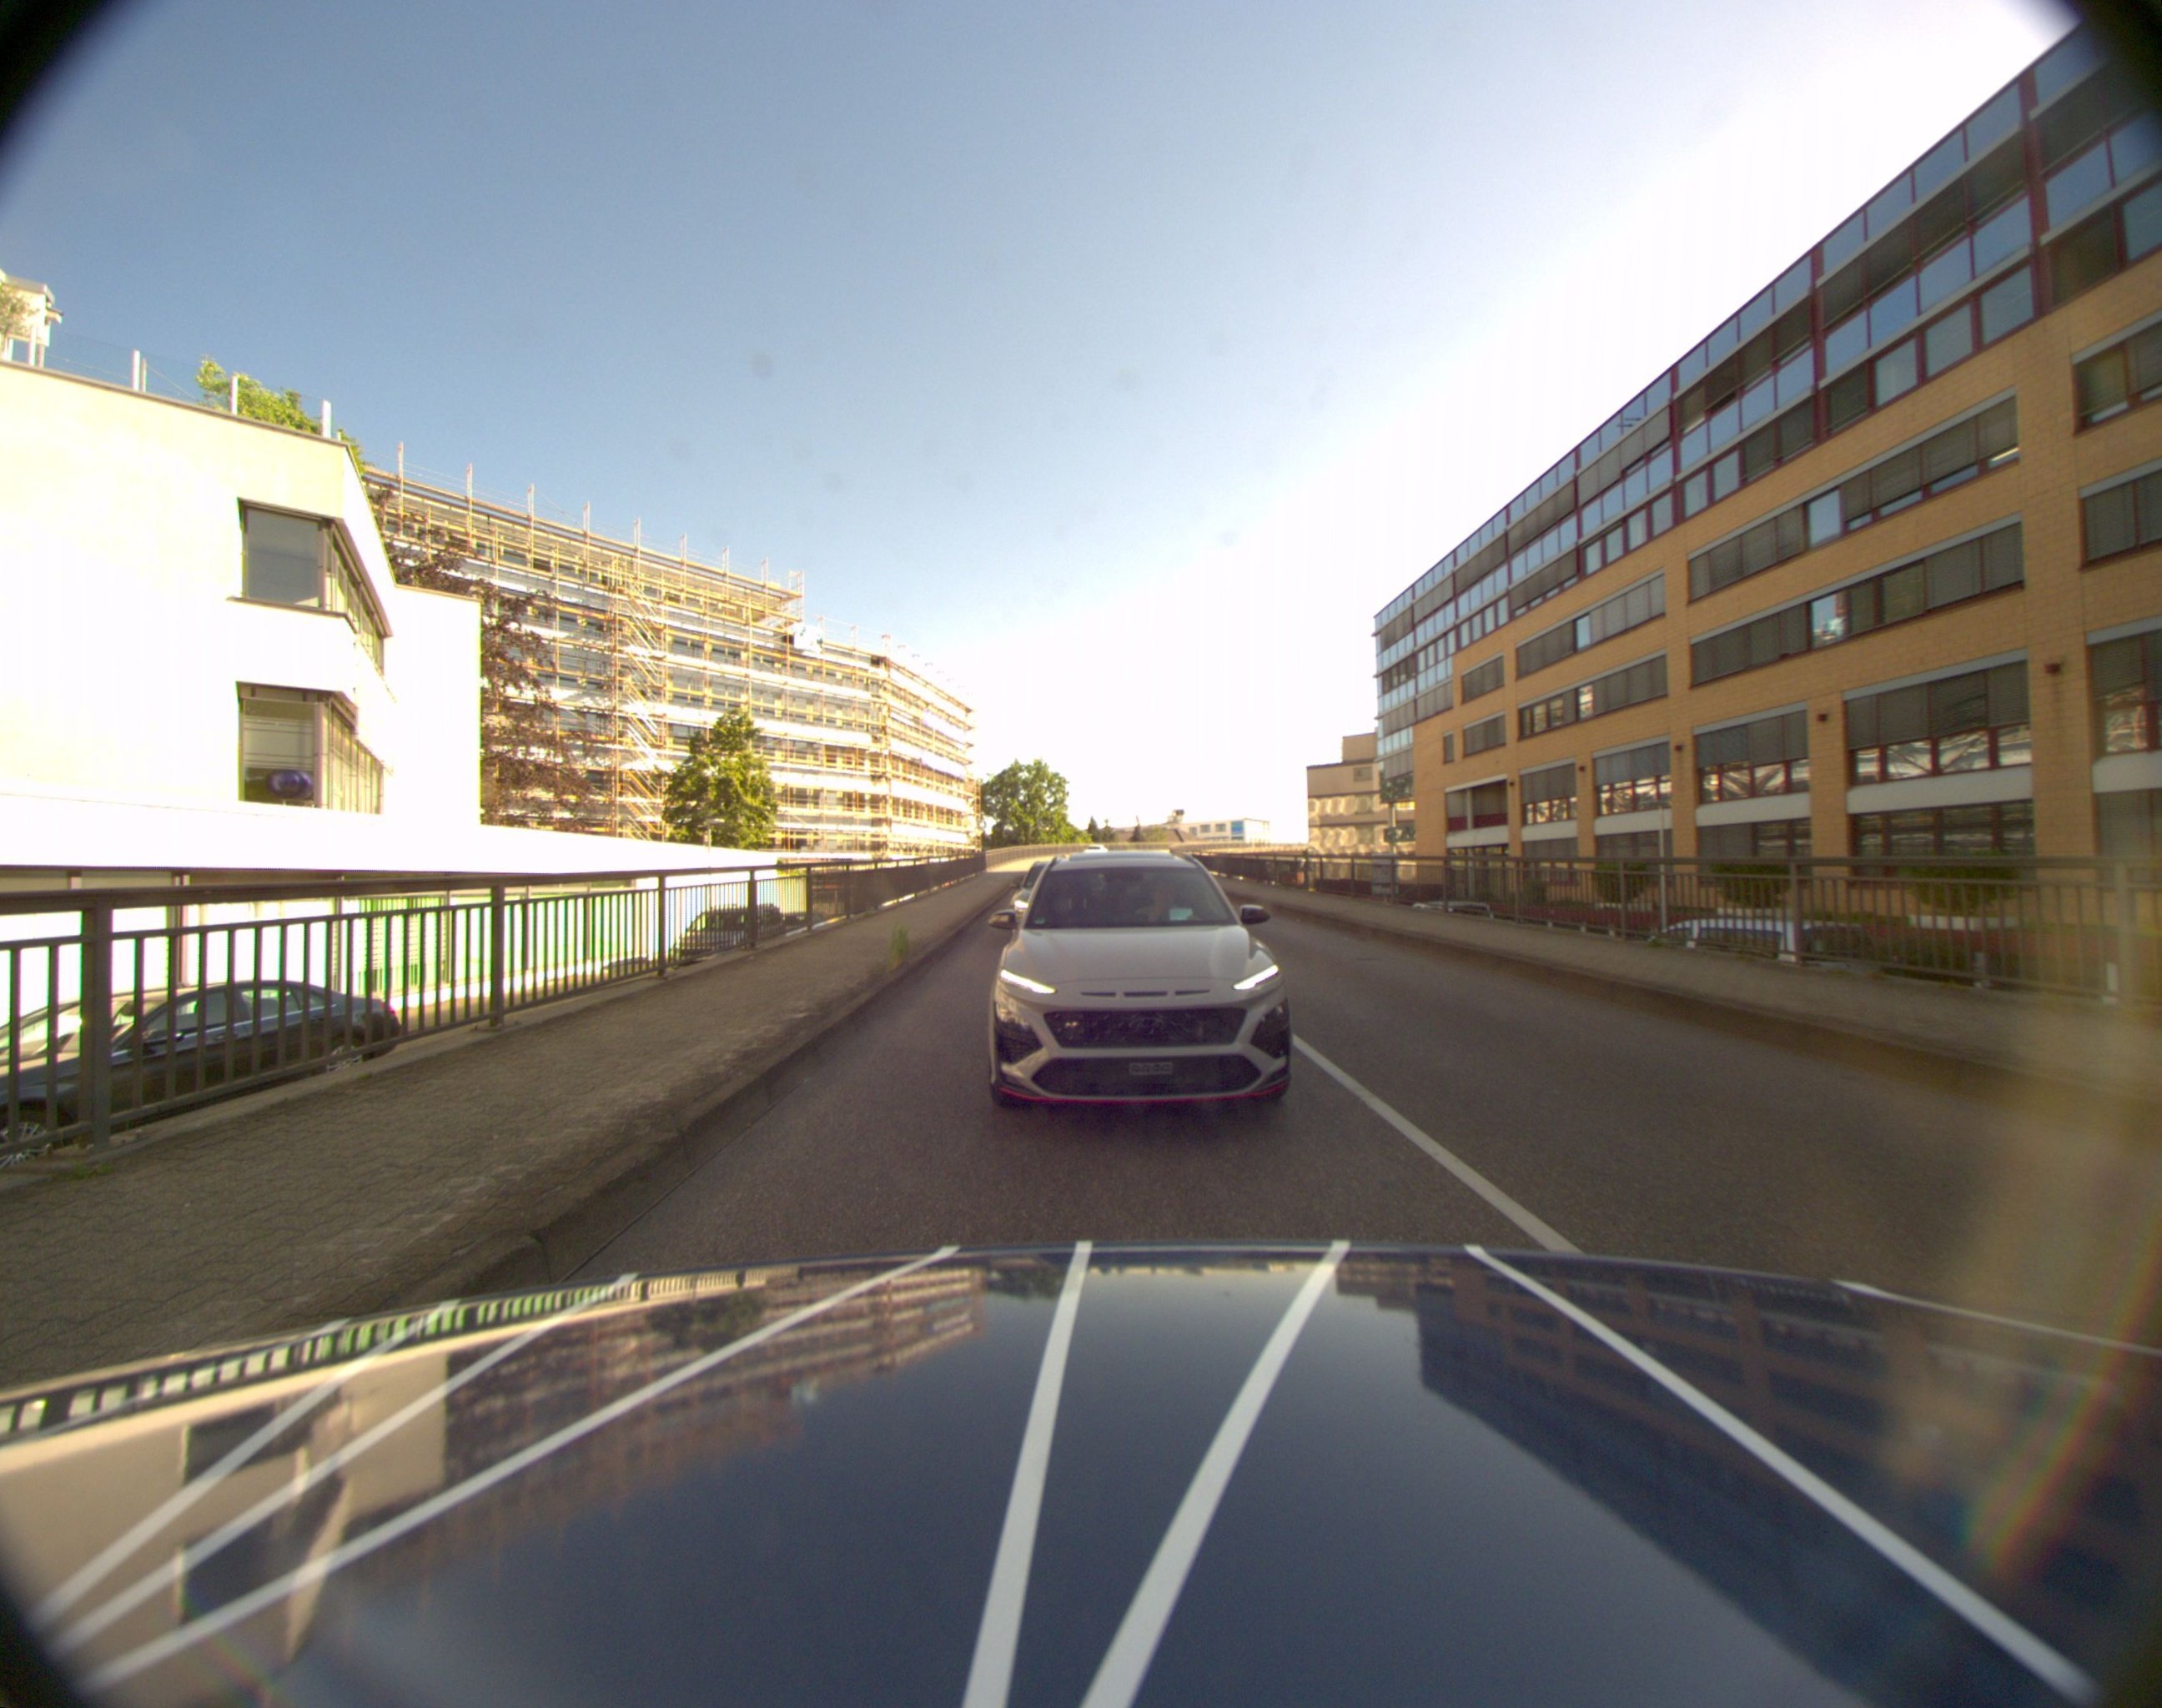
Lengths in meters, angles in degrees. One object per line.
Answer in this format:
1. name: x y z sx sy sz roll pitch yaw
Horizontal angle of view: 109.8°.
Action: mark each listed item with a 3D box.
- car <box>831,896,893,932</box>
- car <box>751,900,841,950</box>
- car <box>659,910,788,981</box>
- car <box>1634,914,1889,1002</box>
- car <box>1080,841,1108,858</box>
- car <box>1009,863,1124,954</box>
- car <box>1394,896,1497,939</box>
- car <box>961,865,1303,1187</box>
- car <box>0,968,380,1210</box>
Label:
1. car: -10.212 2.776 35.682 1.726 1.383 4.000 -2 -1 -1
2. car: -10.089 2.481 27.221 1.726 1.383 4.000 -2 -1 -1
3. car: -9.908 2.474 21.433 1.726 1.513 4.000 -2 -1 -1
4. car: 13.048 1.940 14.925 1.580 1.261 3.809 0 -1 -1
5. car: 1.259 -0.496 73.939 1.950 1.456 4.002 3 3 11
6. car: -0.287 0.935 14.744 1.902 1.433 4.126 0 0 -1
7. car: 12.742 2.195 26.833 1.766 1.261 3.809 0 -1 -1
8. car: 0.288 0.908 5.897 1.749 1.637 4.001 0 -1 1
9. car: -9.597 2.169 7.422 1.726 1.513 4.001 -2 -1 1
